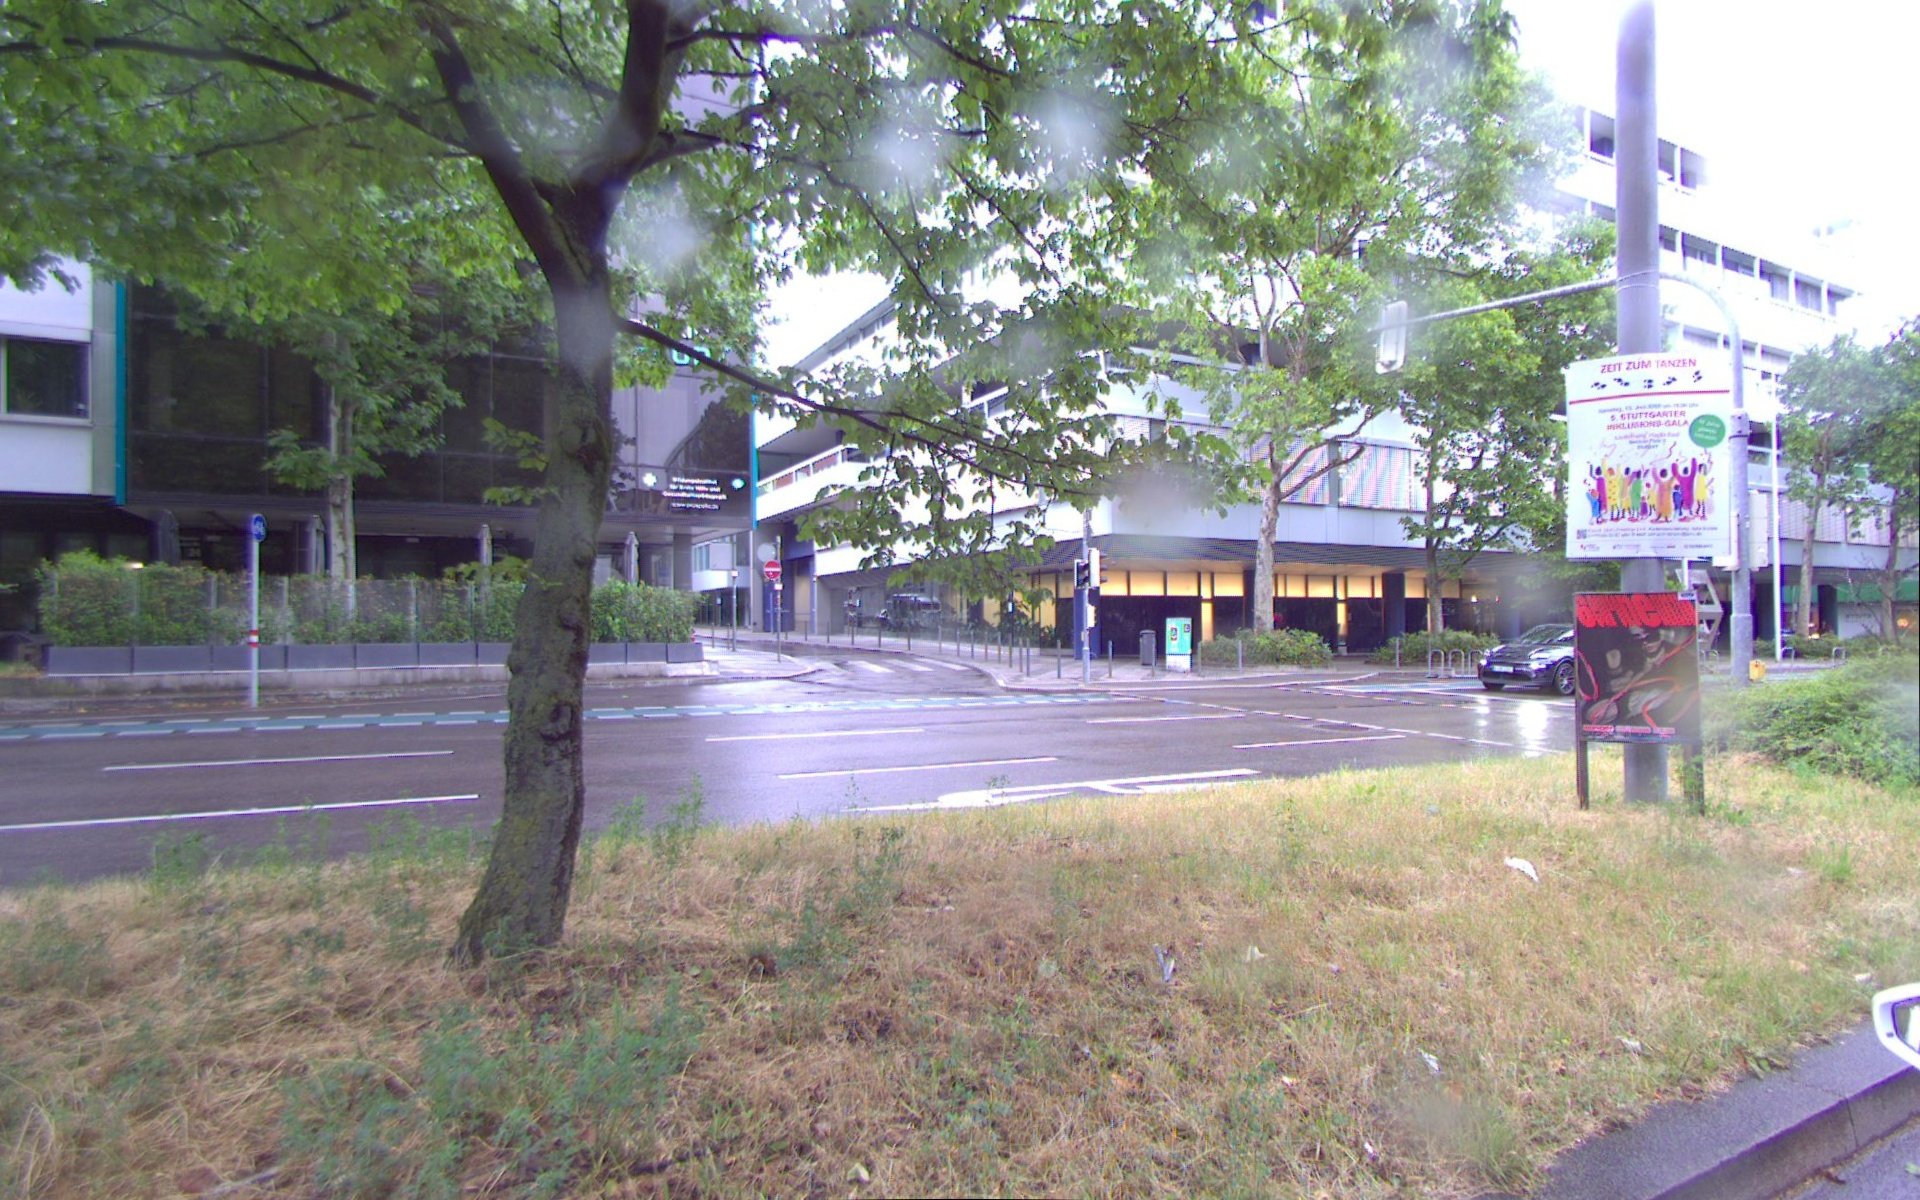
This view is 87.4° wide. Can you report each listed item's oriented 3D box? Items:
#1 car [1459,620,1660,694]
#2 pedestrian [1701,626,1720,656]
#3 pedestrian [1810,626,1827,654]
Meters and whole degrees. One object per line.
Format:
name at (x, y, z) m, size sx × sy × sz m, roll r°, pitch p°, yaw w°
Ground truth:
car at (14.523, 1.363, 24.313) m, size 4.683 × 1.605 × 1.903 m, roll 2°, pitch 0°, yaw -26°
pedestrian at (36.686, 1.999, 49.122) m, size 0.470 × 1.398 × 0.632 m, roll 2°, pitch 0°, yaw -40°
pedestrian at (47.157, 2.173, 55.188) m, size 0.570 × 1.502 × 0.604 m, roll 2°, pitch 0°, yaw -40°
